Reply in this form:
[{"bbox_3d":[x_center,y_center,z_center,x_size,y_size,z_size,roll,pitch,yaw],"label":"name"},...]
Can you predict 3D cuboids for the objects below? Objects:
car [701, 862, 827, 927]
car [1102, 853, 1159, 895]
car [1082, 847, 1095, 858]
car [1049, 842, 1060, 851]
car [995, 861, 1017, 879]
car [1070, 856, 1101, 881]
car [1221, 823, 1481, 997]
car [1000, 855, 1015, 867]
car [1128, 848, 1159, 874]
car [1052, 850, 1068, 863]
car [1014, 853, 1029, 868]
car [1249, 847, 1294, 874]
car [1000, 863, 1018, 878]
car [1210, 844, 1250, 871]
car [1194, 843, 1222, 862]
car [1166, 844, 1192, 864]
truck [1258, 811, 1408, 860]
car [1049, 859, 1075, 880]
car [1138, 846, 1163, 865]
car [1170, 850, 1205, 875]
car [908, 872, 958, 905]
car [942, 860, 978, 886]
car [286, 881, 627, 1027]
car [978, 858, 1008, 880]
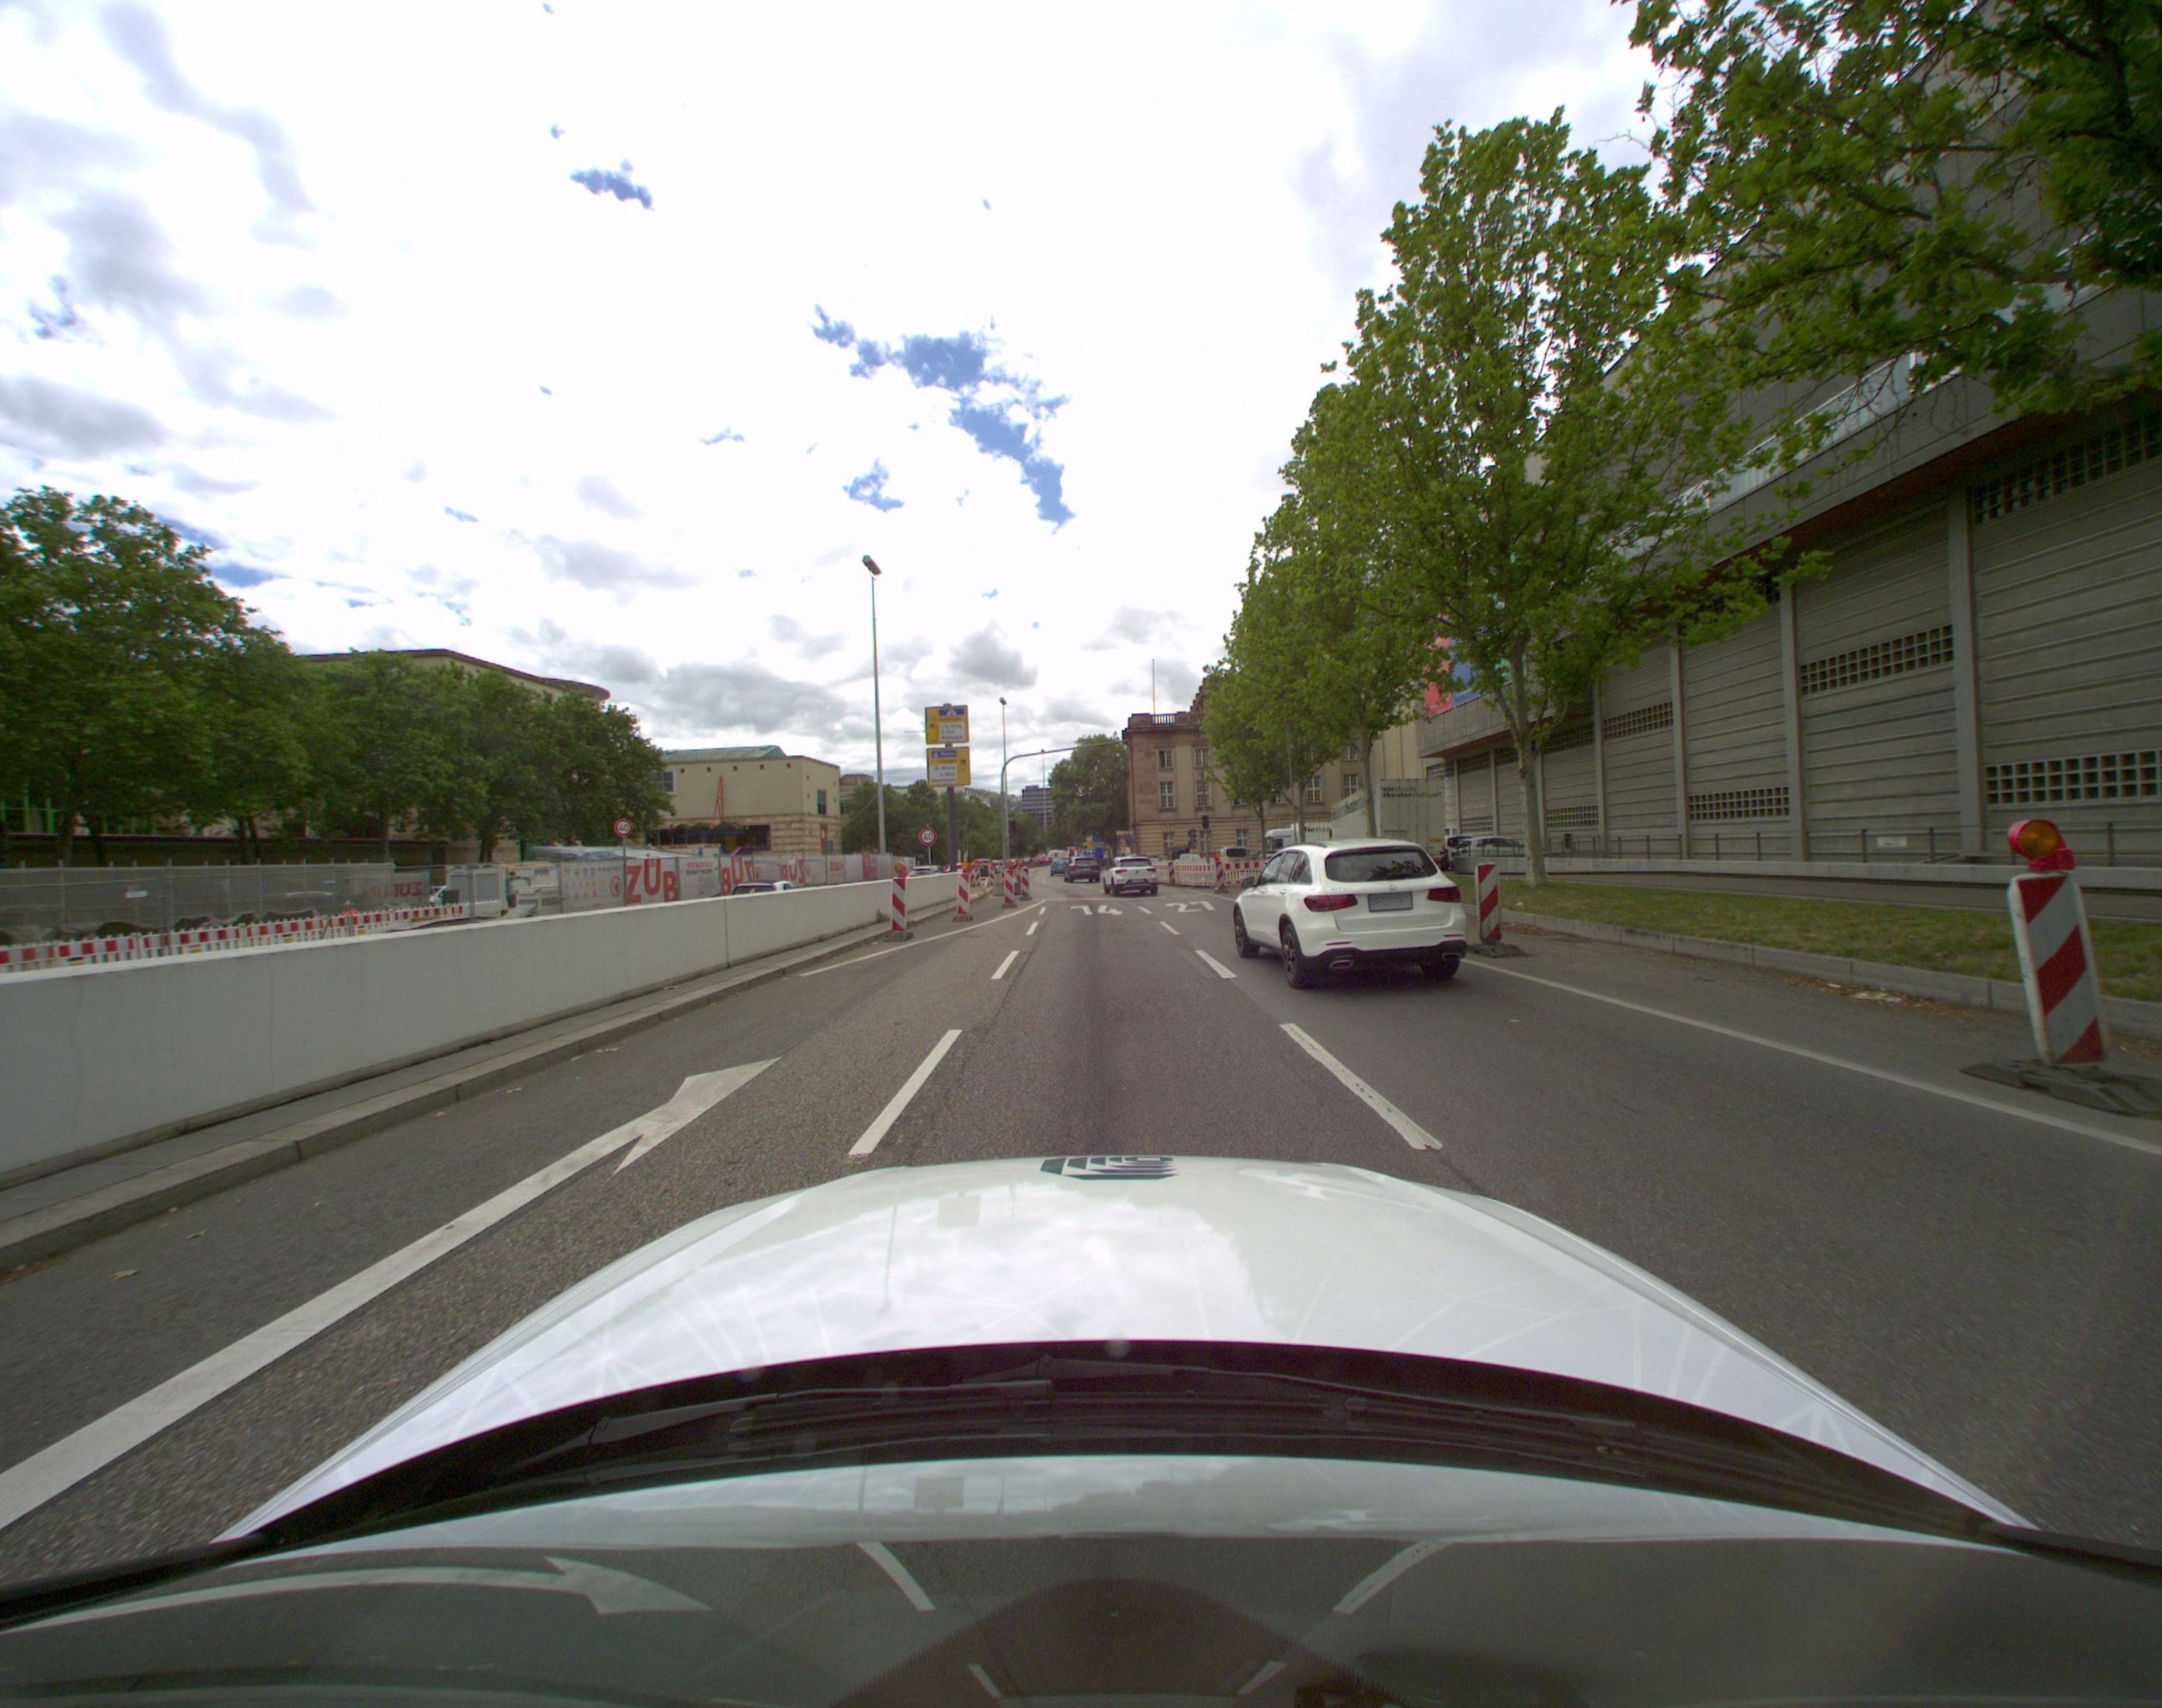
[{"bbox_3d":[-9.056,1.098,23.694,1.987,1.641,4.000,-3,0,1],"label":"car"},{"bbox_3d":[1.971,0.826,33.664,1.747,1.568,4.325,-2,-1,-4],"label":"car"},{"bbox_3d":[1.769,-0.275,188.531,2.570,2.374,5.535,-3,0,5],"label":"car"},{"bbox_3d":[-7.779,-2.283,238.250,2.570,2.374,5.535,-3,0,5],"label":"car"},{"bbox_3d":[-7.097,1.470,77.476,1.746,1.568,4.328,-2,0,-2],"label":"car"},{"bbox_3d":[0.255,0.905,52.415,1.819,1.568,4.475,0,0,-3],"label":"car"},{"bbox_3d":[3.188,0.570,10.713,1.806,1.642,4.552,-5,0,0],"label":"car"},{"bbox_3d":[-10.313,0.956,114.972,1.746,1.568,4.328,-2,0,-2],"label":"car"},{"bbox_3d":[4.084,0.490,53.573,1.744,1.568,4.332,-2,-1,1],"label":"car"},{"bbox_3d":[-4.176,0.416,163.621,2.570,2.374,5.535,-3,0,5],"label":"car"},{"bbox_3d":[-9.260,0.974,126.838,1.988,2.013,3.997,-3,1,-2],"label":"car"},{"bbox_3d":[11.910,0.415,51.263,1.849,1.568,4.332,-2,-1,1],"label":"car"},{"bbox_3d":[-8.217,1.842,93.299,1.746,1.568,4.328,-2,0,-2],"label":"car"},{"bbox_3d":[9.368,0.253,51.486,1.744,1.568,4.332,-2,-1,1],"label":"car"},{"bbox_3d":[11.291,-0.132,72.582,1.849,1.568,4.332,-2,-1,1],"label":"car"},{"bbox_3d":[8.603,0.022,71.969,1.849,1.568,4.332,-2,-1,1],"label":"car"},{"bbox_3d":[18.222,-1.319,59.260,9.993,3.051,2.569,-3,-1,1],"label":"truck"},{"bbox_3d":[-1.694,1.359,74.355,1.814,1.740,4.487,-3,0,5],"label":"car"},{"bbox_3d":[6.155,0.130,72.270,1.849,1.568,4.332,-2,-1,1],"label":"car"},{"bbox_3d":[7.011,0.572,53.941,1.744,1.568,4.332,-2,-1,1],"label":"car"},{"bbox_3d":[-8.038,1.865,44.590,1.744,1.568,4.333,-2,0,2],"label":"car"},{"bbox_3d":[-8.002,1.221,53.981,1.744,1.568,3.378,-2,0,2],"label":"car"},{"bbox_3d":[-9.037,1.337,12.332,1.987,1.641,4.000,-3,0,1],"label":"car"},{"bbox_3d":[-7.041,1.158,65.410,1.744,1.567,3.378,-5,0,2],"label":"car"}]
